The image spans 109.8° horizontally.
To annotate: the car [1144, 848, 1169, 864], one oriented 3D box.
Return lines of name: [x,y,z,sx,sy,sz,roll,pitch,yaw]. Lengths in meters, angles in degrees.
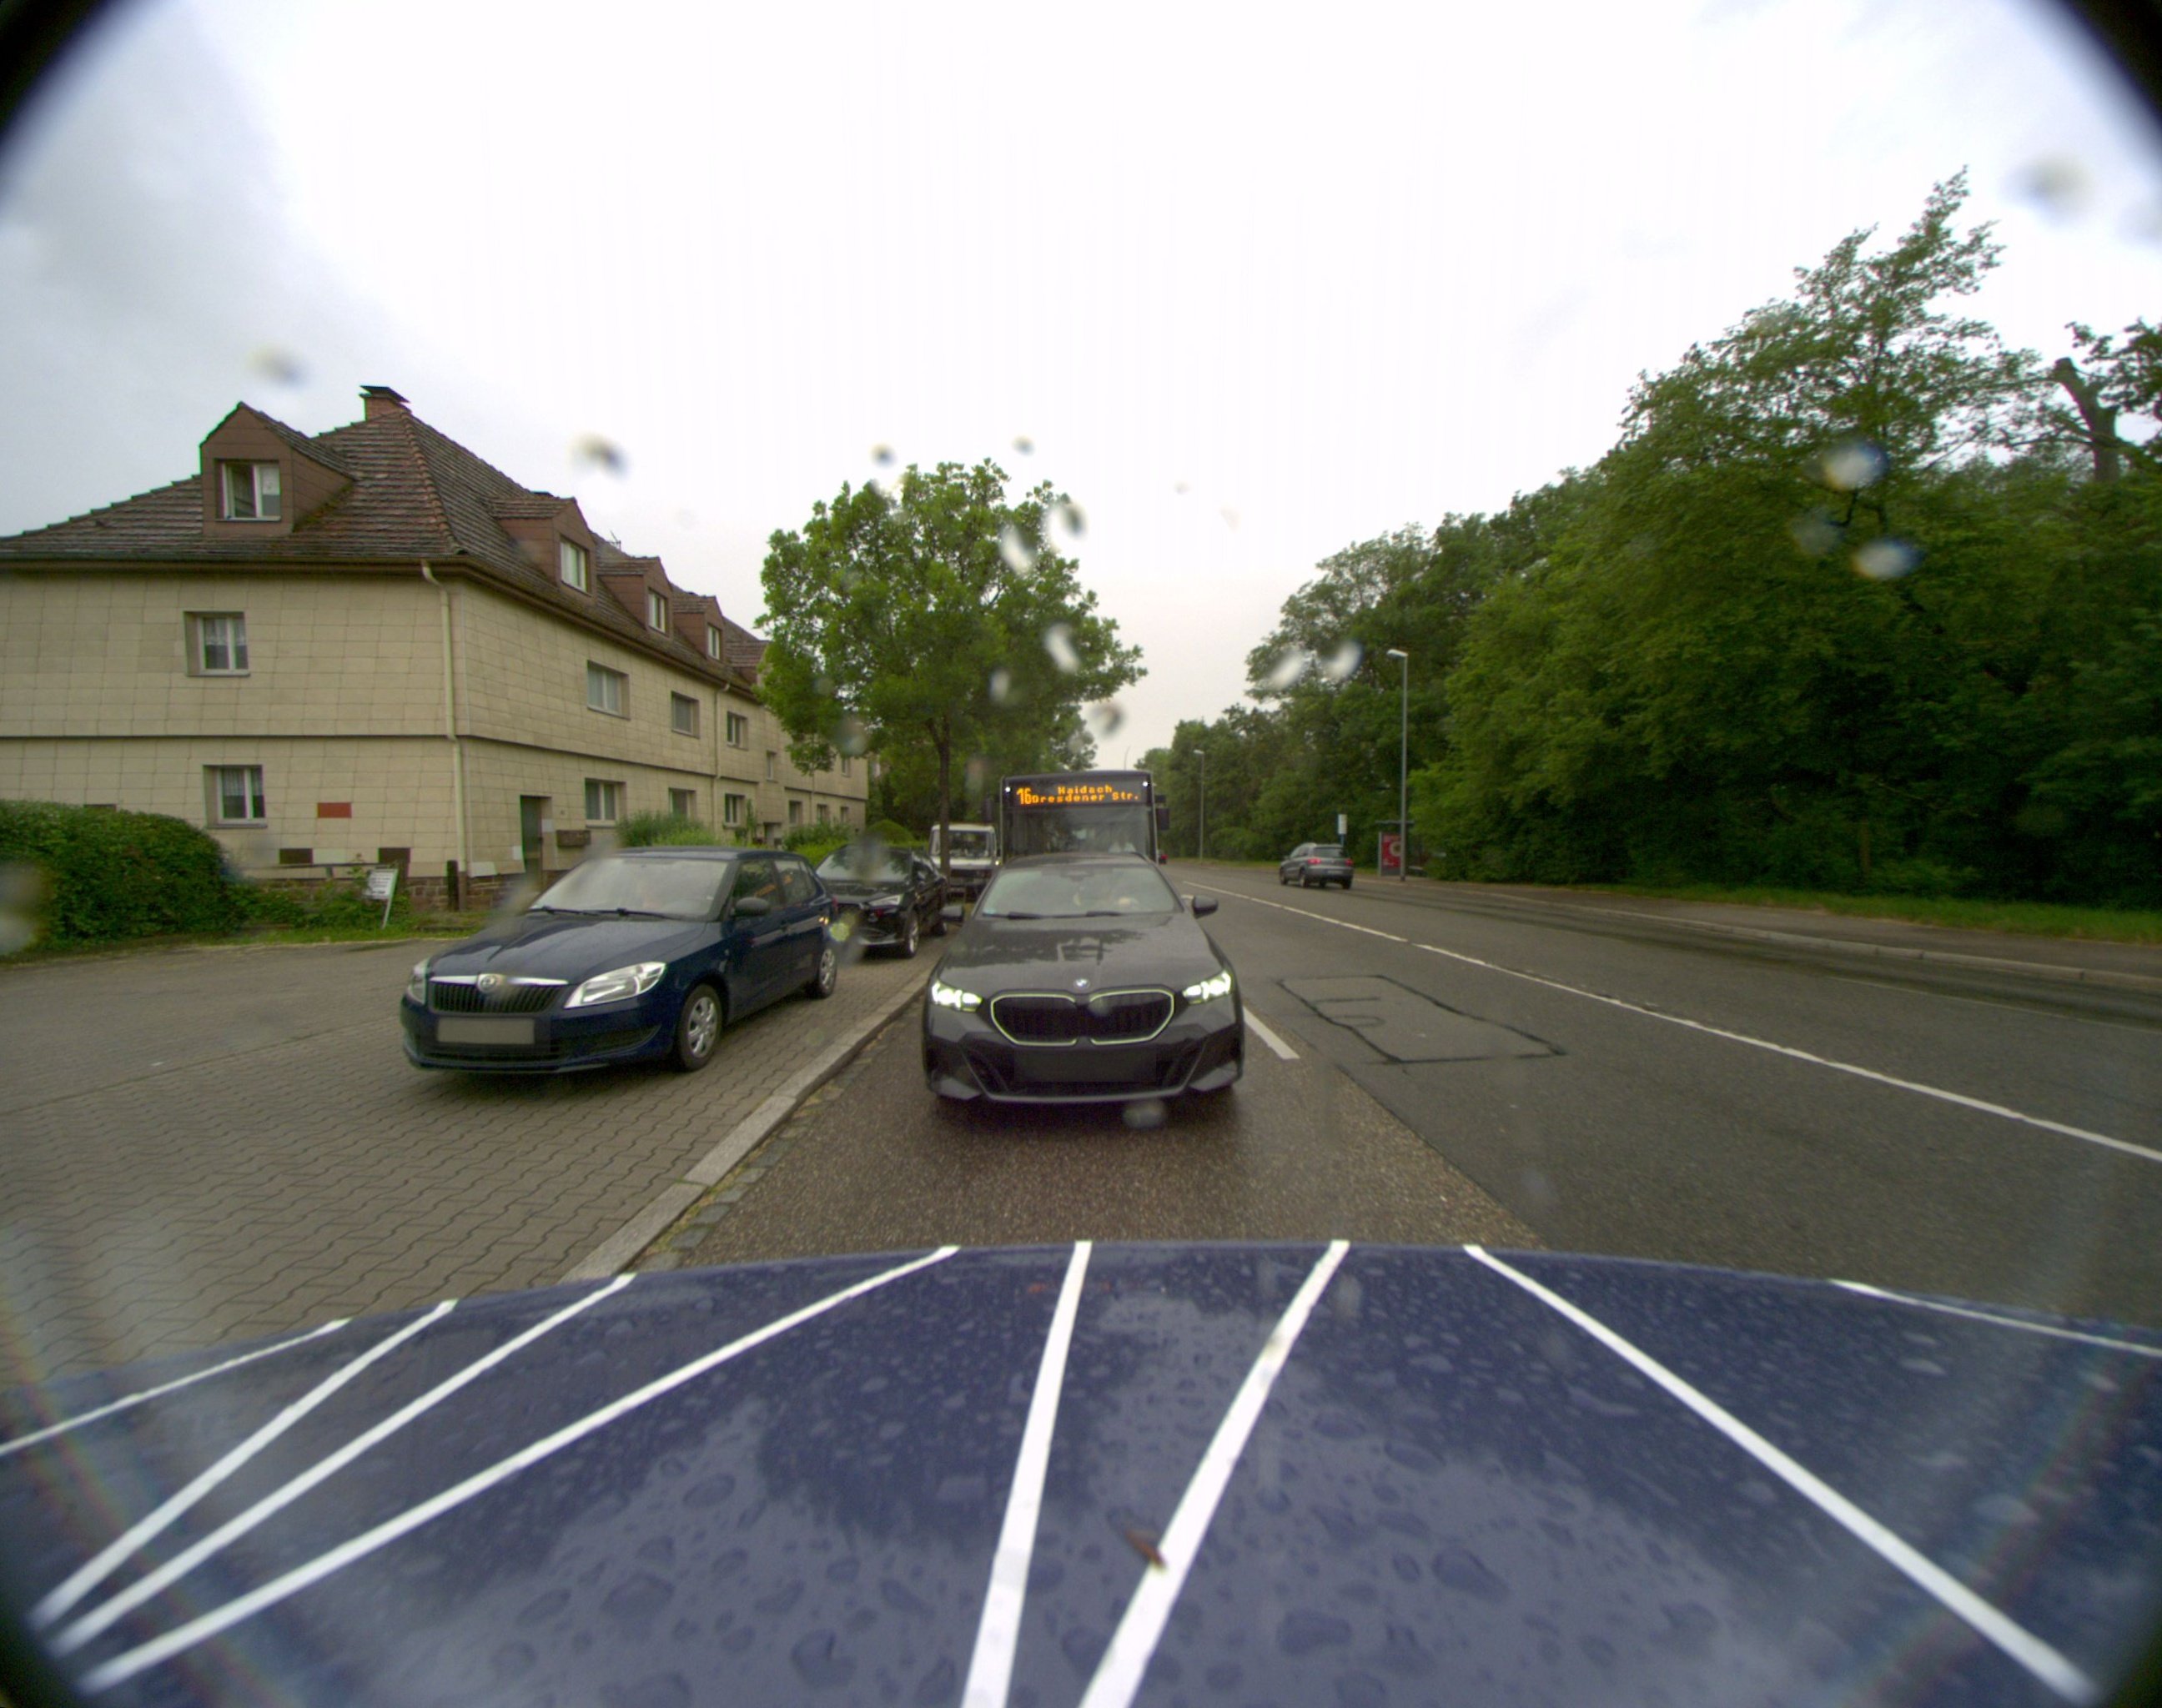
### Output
car: [7.627,0.149,77.501,1.915,1.446,4.947,3,1,-1]

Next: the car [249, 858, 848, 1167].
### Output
car: [-3.282,0.807,5.806,1.720,1.416,3.999,1,1,1]

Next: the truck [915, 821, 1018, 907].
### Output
truck: [-3.141,0.221,22.174,1.998,2.184,5.755,0,1,1]

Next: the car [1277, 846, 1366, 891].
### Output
car: [9.120,0.490,29.217,1.913,1.581,4.316,0,1,-2]

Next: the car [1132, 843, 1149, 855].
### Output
car: [7.081,-0.600,90.504,1.598,1.420,3.904,1,1,-2]

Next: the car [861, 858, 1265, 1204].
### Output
car: [-0.059,0.871,5.840,1.882,1.520,4.316,-3,1,1]

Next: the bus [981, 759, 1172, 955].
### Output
bus: [0.051,-0.046,16.131,2.767,2.858,9.402,-2,1,2]

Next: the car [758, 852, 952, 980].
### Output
car: [-3.087,0.749,11.245,1.720,1.456,3.999,1,1,-1]
